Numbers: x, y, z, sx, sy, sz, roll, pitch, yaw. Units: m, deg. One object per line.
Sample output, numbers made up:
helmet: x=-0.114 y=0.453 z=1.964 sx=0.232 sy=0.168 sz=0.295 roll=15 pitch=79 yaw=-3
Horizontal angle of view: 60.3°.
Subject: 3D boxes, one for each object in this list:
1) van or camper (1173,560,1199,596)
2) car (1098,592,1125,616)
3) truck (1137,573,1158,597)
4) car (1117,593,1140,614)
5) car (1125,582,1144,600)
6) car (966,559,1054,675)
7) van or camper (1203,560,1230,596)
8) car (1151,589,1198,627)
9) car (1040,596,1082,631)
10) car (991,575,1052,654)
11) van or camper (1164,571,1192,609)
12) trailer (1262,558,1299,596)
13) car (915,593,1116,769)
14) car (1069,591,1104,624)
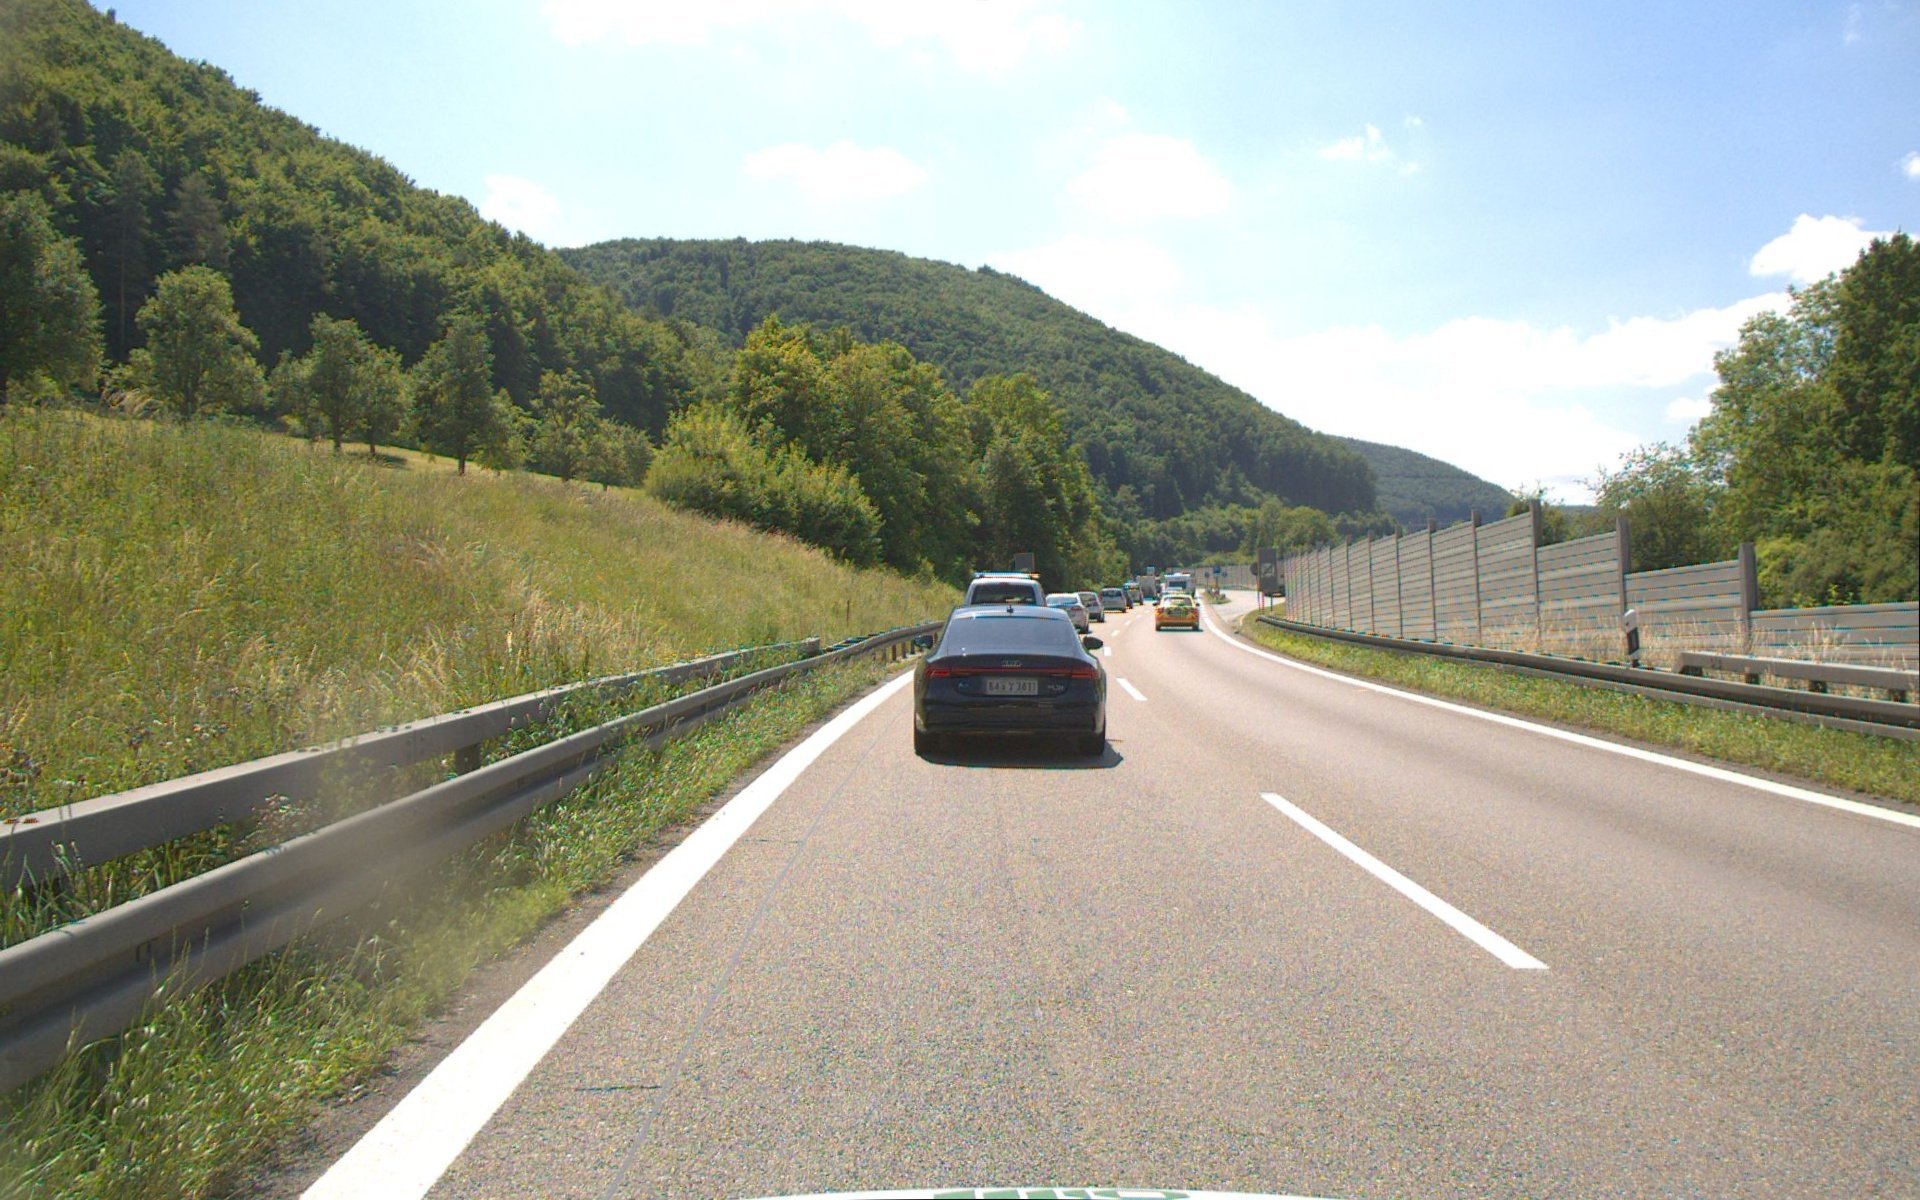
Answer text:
van or camper: x=25.926 y=-2.471 z=189.975 sx=2.735 sy=3.975 sz=6.171 roll=1 pitch=0 yaw=6
car: x=10.290 y=0.285 z=112.249 sx=1.488 sy=1.580 sz=3.517 roll=2 pitch=0 yaw=9
truck: x=21.938 y=-1.735 z=193.194 sx=2.020 sy=2.651 sz=5.619 roll=2 pitch=0 yaw=10
car: x=13.368 y=0.278 z=130.968 sx=1.488 sy=1.580 sz=3.517 roll=2 pitch=0 yaw=10
car: x=15.994 y=-0.812 z=151.733 sx=1.488 sy=1.580 sz=3.517 roll=2 pitch=0 yaw=9
car: x=0.945 y=0.291 z=31.086 sx=1.489 sy=2.002 sz=3.515 roll=2 pitch=0 yaw=2
van or camper: x=29.283 y=-2.456 z=188.772 sx=2.735 sy=3.908 sz=6.171 roll=1 pitch=0 yaw=6
car: x=8.855 y=0.311 z=67.946 sx=1.839 sy=1.525 sz=4.003 roll=0 pitch=0 yaw=8
car: x=3.907 y=0.509 z=63.680 sx=1.489 sy=1.317 sz=3.516 roll=0 pitch=0 yaw=6
car: x=1.606 y=0.381 z=43.472 sx=1.507 sy=1.959 sz=3.479 roll=1 pitch=0 yaw=2
van or camper: x=19.221 y=-0.838 z=145.657 sx=2.377 sy=3.210 sz=5.207 roll=1 pitch=0 yaw=8
trailer: x=34.604 y=-2.474 z=179.007 sx=3.339 sy=3.968 sz=11.160 roll=0 pitch=1 yaw=8
car: x=0.515 y=0.717 z=16.574 sx=1.775 sy=1.541 sz=3.514 roll=-1 pitch=0 yaw=1
car: x=6.299 y=0.363 z=82.128 sx=1.489 sy=1.580 sz=3.517 roll=2 pitch=0 yaw=8
